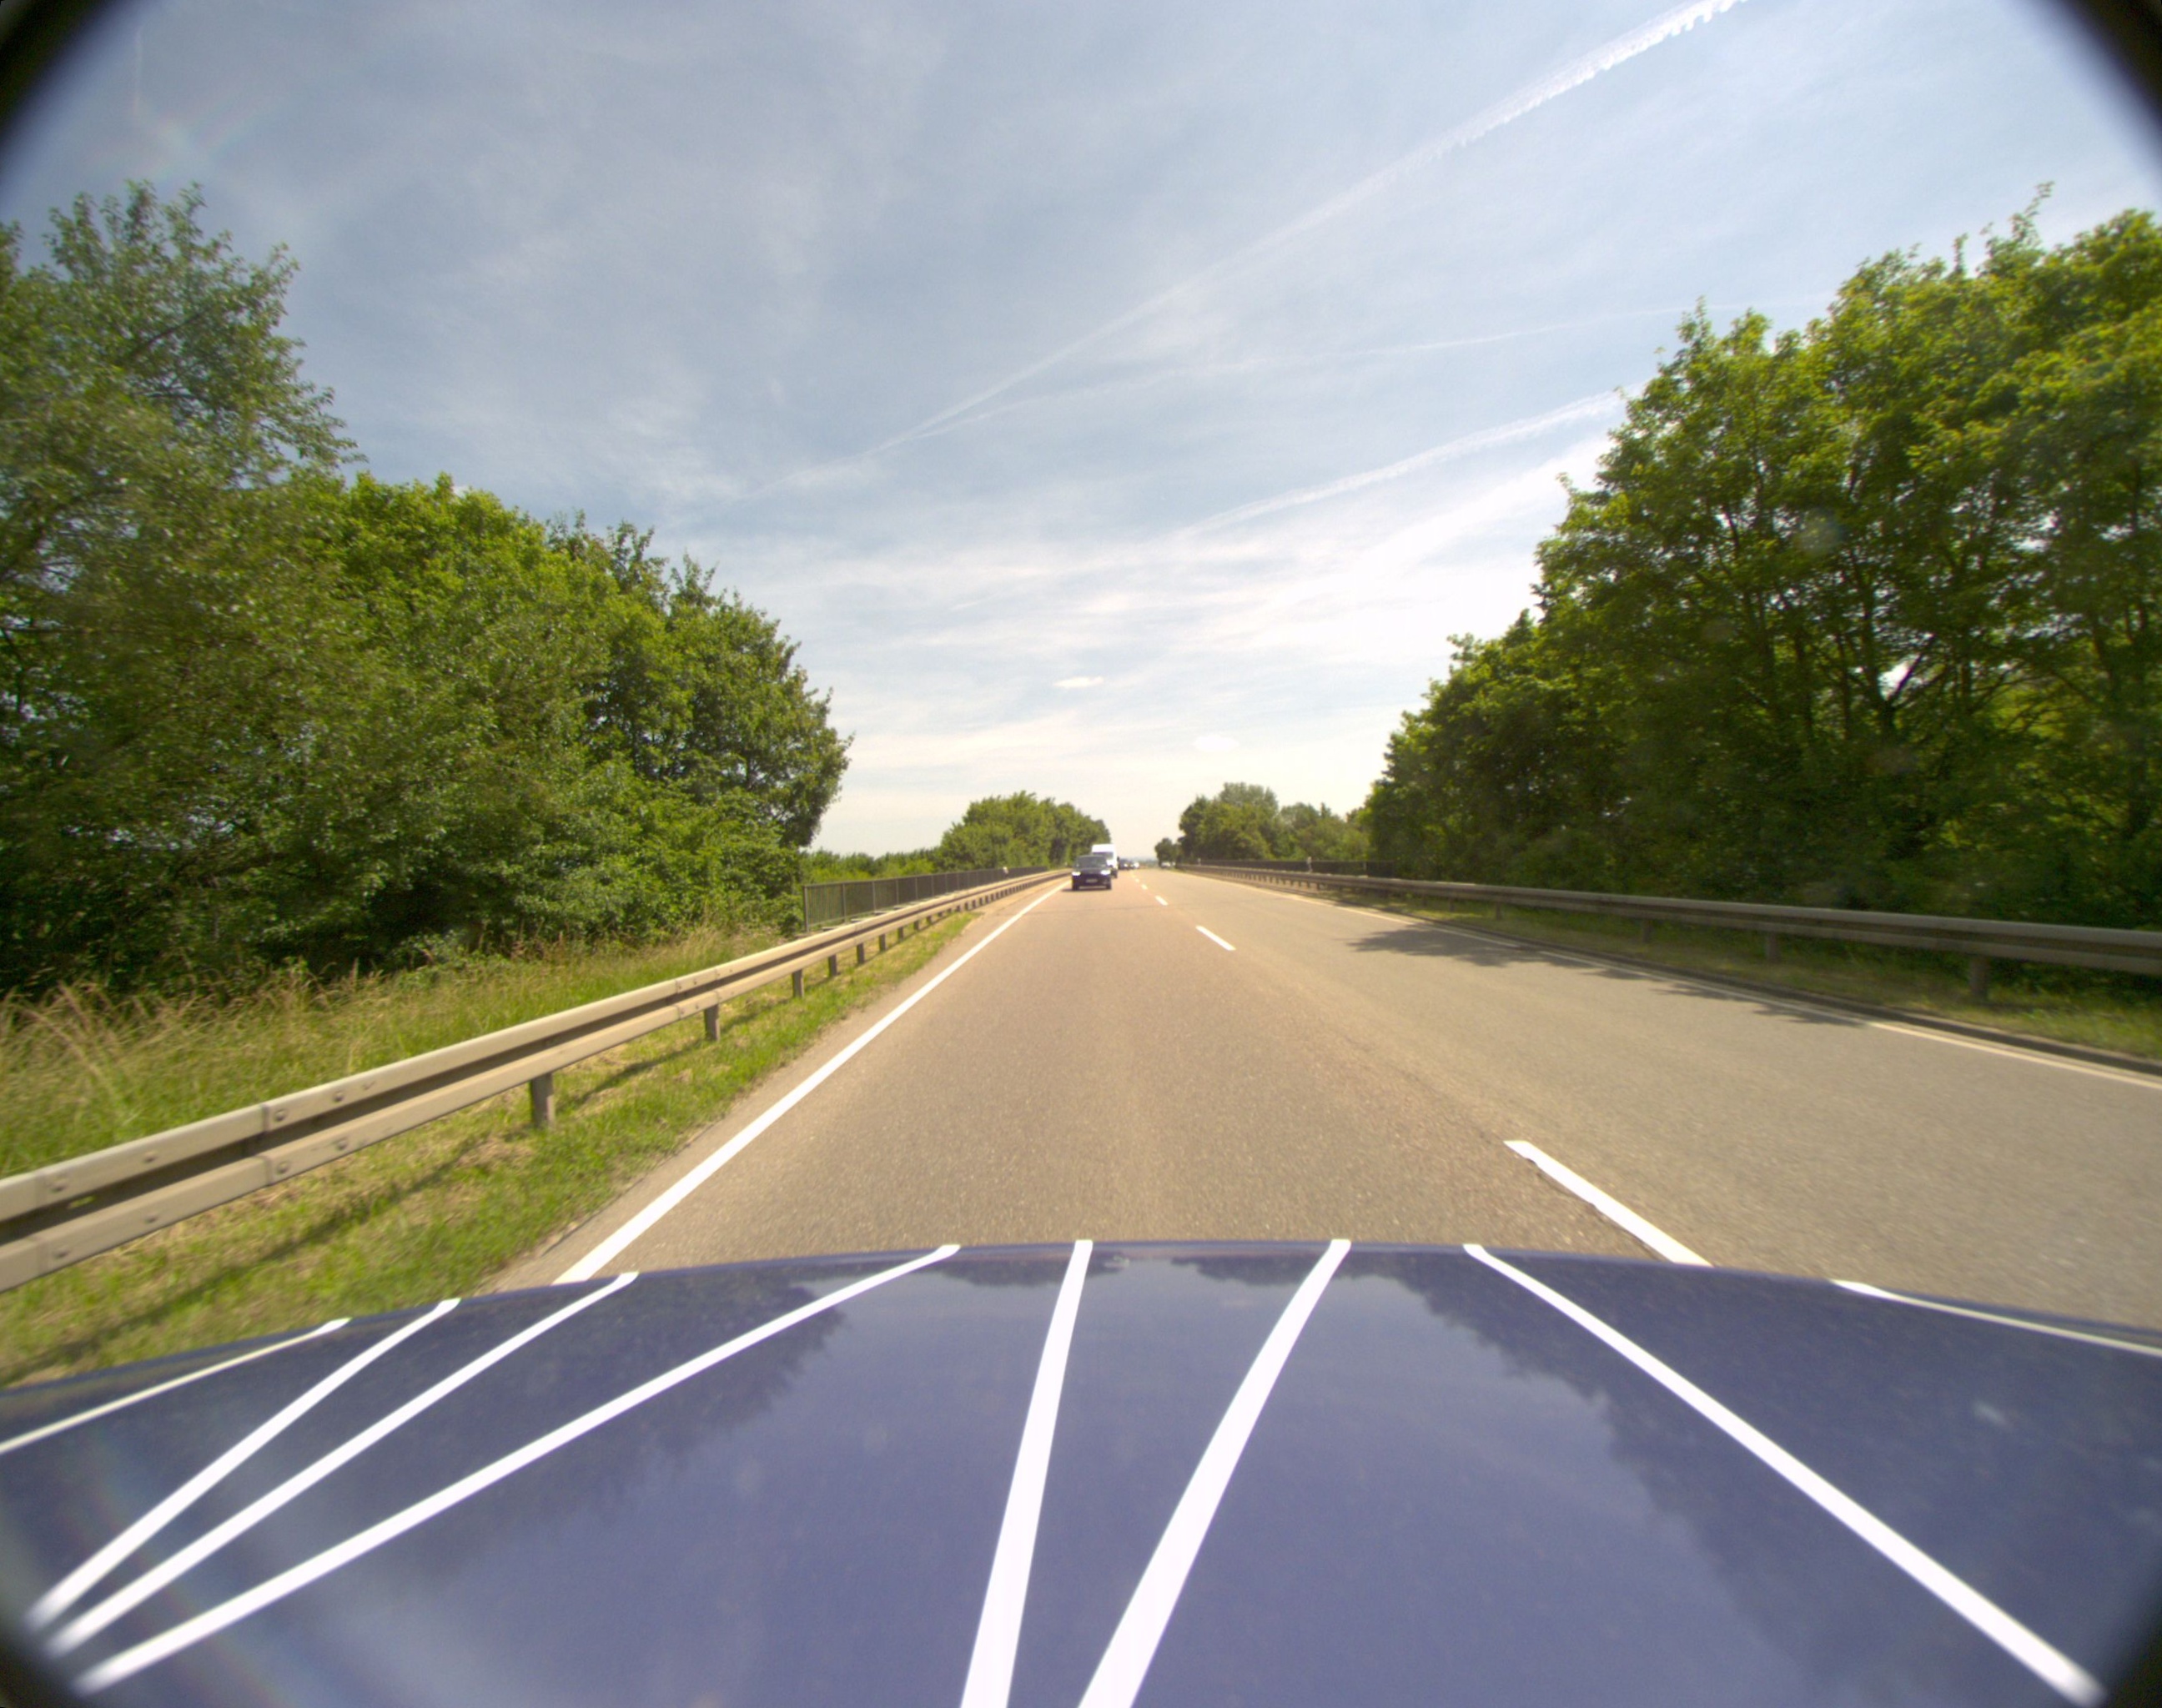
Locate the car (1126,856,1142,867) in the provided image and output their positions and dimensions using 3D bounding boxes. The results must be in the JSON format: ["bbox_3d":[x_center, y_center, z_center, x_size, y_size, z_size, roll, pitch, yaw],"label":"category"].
[{"bbox_3d":[8.577,1.180,122.172,2.037,1.641,4.748,-1,0,11],"label":"car"}]

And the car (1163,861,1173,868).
[{"bbox_3d":[19.890,2.294,173.097,1.882,1.502,4.548,-1,0,12],"label":"car"}]

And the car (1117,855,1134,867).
[{"bbox_3d":[6.296,0.999,106.215,2.038,1.641,4.747,-1,0,7],"label":"car"}]

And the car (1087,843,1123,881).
[{"bbox_3d":[1.926,0.534,58.704,2.225,2.617,5.754,-2,1,6],"label":"car"}]

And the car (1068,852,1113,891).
[{"bbox_3d":[0.528,0.788,37.424,2.039,1.691,5.513,-1,0,2],"label":"car"}]

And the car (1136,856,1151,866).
[{"bbox_3d":[11.900,1.310,144.051,2.037,1.641,4.749,-1,0,13],"label":"car"}]
